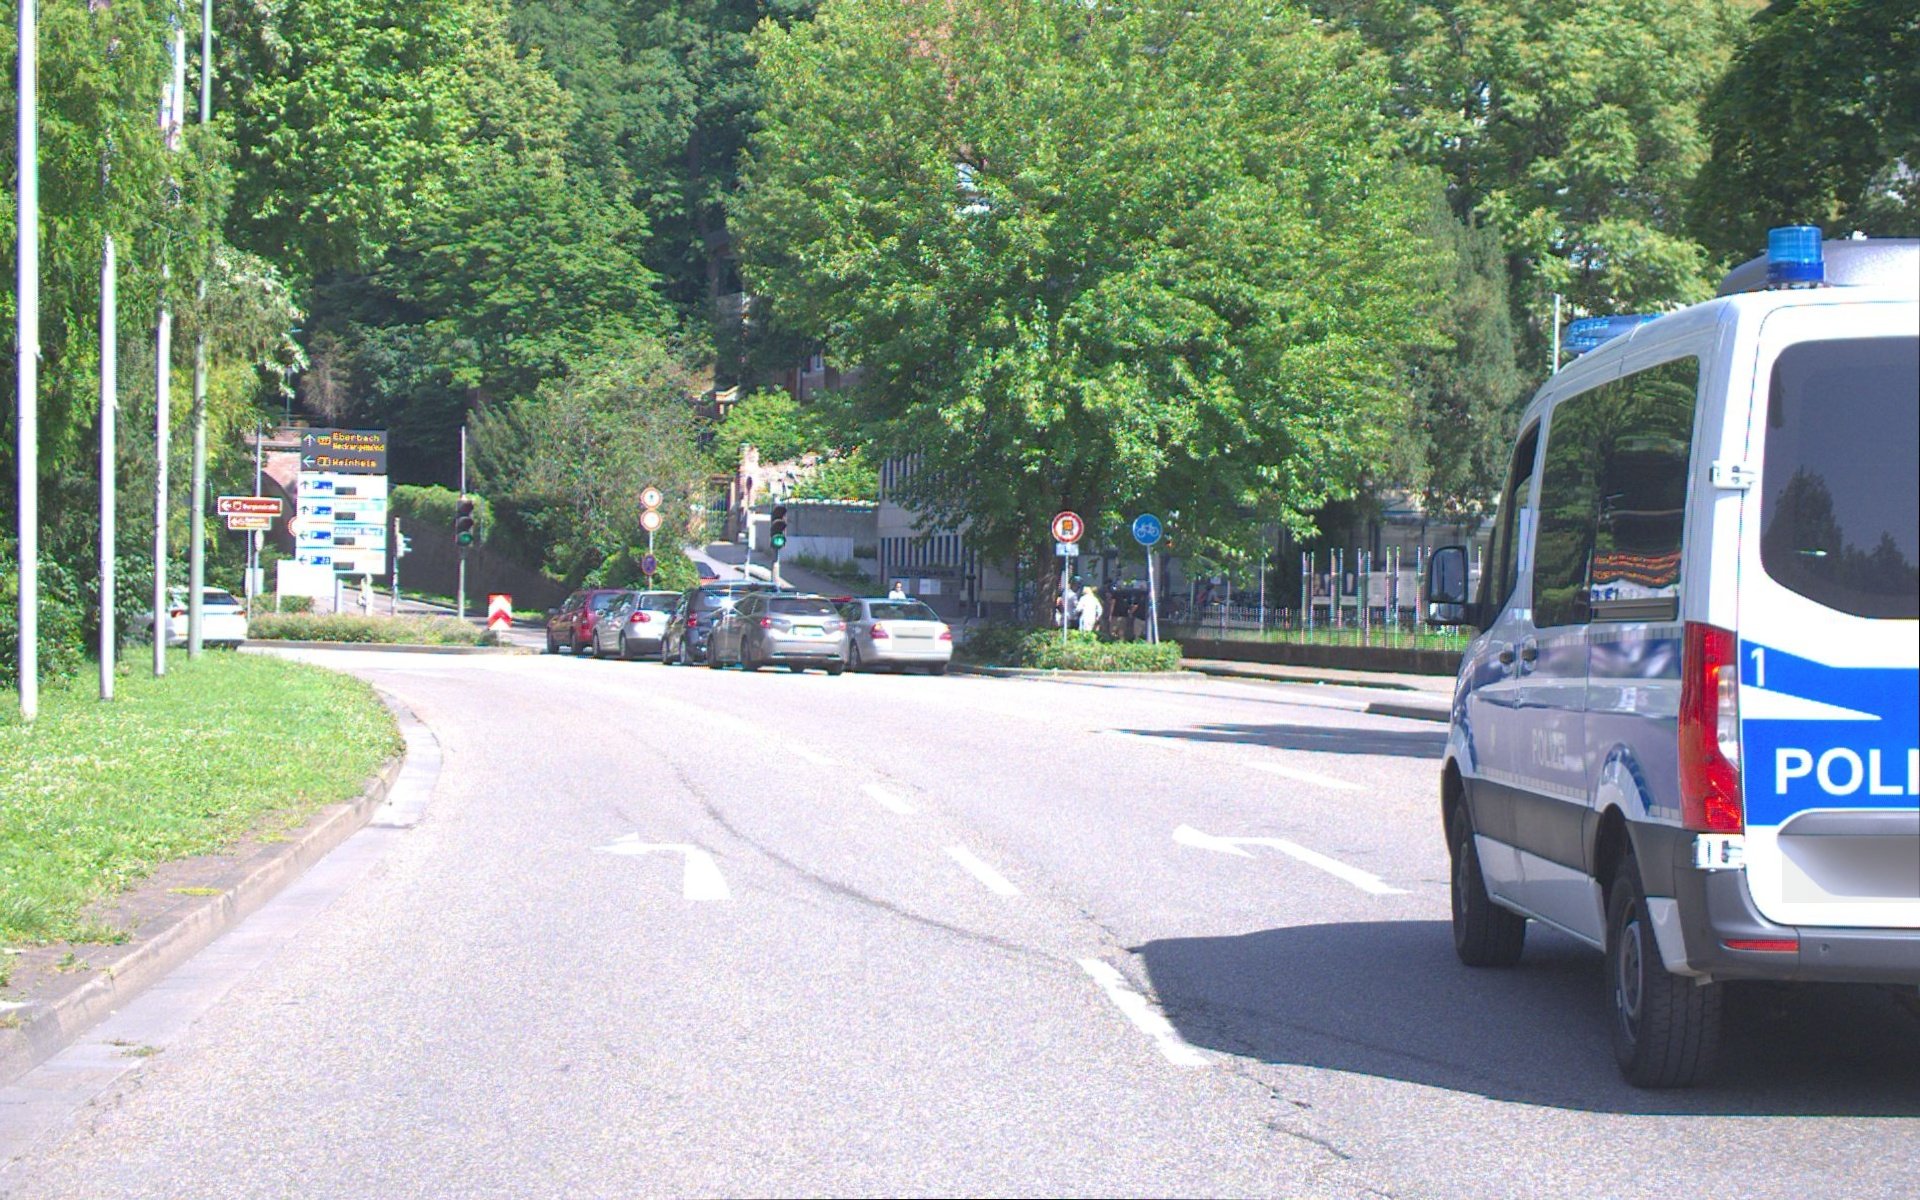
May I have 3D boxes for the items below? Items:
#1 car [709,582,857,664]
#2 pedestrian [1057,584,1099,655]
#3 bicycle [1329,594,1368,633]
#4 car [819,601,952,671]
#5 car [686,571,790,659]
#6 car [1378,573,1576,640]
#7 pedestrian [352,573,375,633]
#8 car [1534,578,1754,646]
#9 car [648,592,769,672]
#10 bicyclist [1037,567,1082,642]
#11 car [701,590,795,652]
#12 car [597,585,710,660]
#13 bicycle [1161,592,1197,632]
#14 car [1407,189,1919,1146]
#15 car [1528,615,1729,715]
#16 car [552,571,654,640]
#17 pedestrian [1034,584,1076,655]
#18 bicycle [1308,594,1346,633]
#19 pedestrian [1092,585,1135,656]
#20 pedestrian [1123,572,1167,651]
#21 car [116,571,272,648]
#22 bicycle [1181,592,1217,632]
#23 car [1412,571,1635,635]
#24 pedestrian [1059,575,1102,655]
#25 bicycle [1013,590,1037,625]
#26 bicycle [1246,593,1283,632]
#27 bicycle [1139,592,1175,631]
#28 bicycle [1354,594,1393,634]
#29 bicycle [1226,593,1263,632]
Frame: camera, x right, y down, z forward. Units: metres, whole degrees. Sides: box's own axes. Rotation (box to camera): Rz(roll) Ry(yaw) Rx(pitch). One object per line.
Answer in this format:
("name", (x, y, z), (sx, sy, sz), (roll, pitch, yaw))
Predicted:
("car", (-3.169, 0.388, 61.011), (1.755, 1.329, 3.803), (2, 0, -16))
("pedestrian", (2.834, 0.464, 82.761), (0.771, 1.657, 0.830), (2, 0, -13))
("bicycle", (11.063, 0.386, 97.911), (0.537, 1.081, 1.835), (1, 0, -12))
("car", (-1.448, 0.669, 65.529), (1.755, 1.209, 3.495), (2, 0, -14))
("car", (-5.166, 0.330, 79.701), (1.755, 1.931, 3.495), (2, 0, -14))
("car", (12.078, 0.150, 80.385), (4.141, 1.471, 1.878), (1, 0, -18))
("pedestrian", (-16.190, 0.069, 93.311), (0.547, 1.615, 0.634), (1, 1, -4))
("car", (14.131, 0.240, 71.118), (4.039, 1.331, 1.861), (1, 0, -16))
("car", (-4.924, 0.609, 66.981), (1.755, 1.456, 3.495), (2, 0, -14))
("bicyclist", (2.614, 0.124, 90.449), (1.126, 1.926, 0.748), (1, 0, -1))
("car", (-5.419, 0.519, 87.575), (1.755, 1.456, 3.495), (2, 0, -14))
("car", (-6.403, 0.454, 71.551), (1.755, 1.456, 3.647), (2, 0, -14))
("bicycle", (6.177, 0.329, 97.083), (0.537, 1.081, 1.835), (1, 0, -12))
("car", (2.900, 0.205, 11.520), (2.073, 2.500, 4.929), (2, 0, 0))
("car", (10.561, 1.006, 54.103), (1.825, 1.456, 4.100), (2, 0, 30))
("car", (-8.021, 0.106, 76.962), (1.755, 1.456, 3.495), (2, 0, -14))
("pedestrian", (2.250, 0.458, 81.835), (0.771, 1.657, 0.830), (2, 0, -13))
("bicycle", (10.432, 0.378, 97.770), (0.537, 1.081, 1.835), (1, 0, -12))
("pedestrian", (3.630, 0.481, 81.358), (0.771, 1.657, 0.830), (2, 0, -12))
("pedestrian", (4.370, 0.273, 81.441), (0.771, 1.848, 0.830), (2, 0, -15))
("car", (-15.571, 0.180, 69.791), (1.842, 1.455, 3.493), (1, 0, -36))
("bicycle", (6.759, 0.336, 97.211), (0.537, 1.081, 1.835), (1, 0, -12))
("car", (12.362, 0.059, 75.527), (4.465, 1.331, 1.822), (1, 0, -16))
("pedestrian", (2.833, 0.347, 80.970), (0.771, 1.848, 0.830), (2, 0, -13))
("bicycle", (1.916, 0.214, 101.509), (0.405, 1.009, 1.341), (1, 1, -13))
("bicycle", (8.632, 0.357, 97.521), (0.537, 1.081, 1.835), (1, 0, -12))
("bicycle", (5.545, 0.321, 96.961), (0.537, 1.081, 1.835), (1, 0, -12))
("bicycle", (11.761, 0.394, 97.866), (0.537, 1.081, 1.835), (1, 0, -12))
("bicycle", (8.051, 0.351, 97.378), (0.537, 1.081, 1.835), (1, 0, -12))
